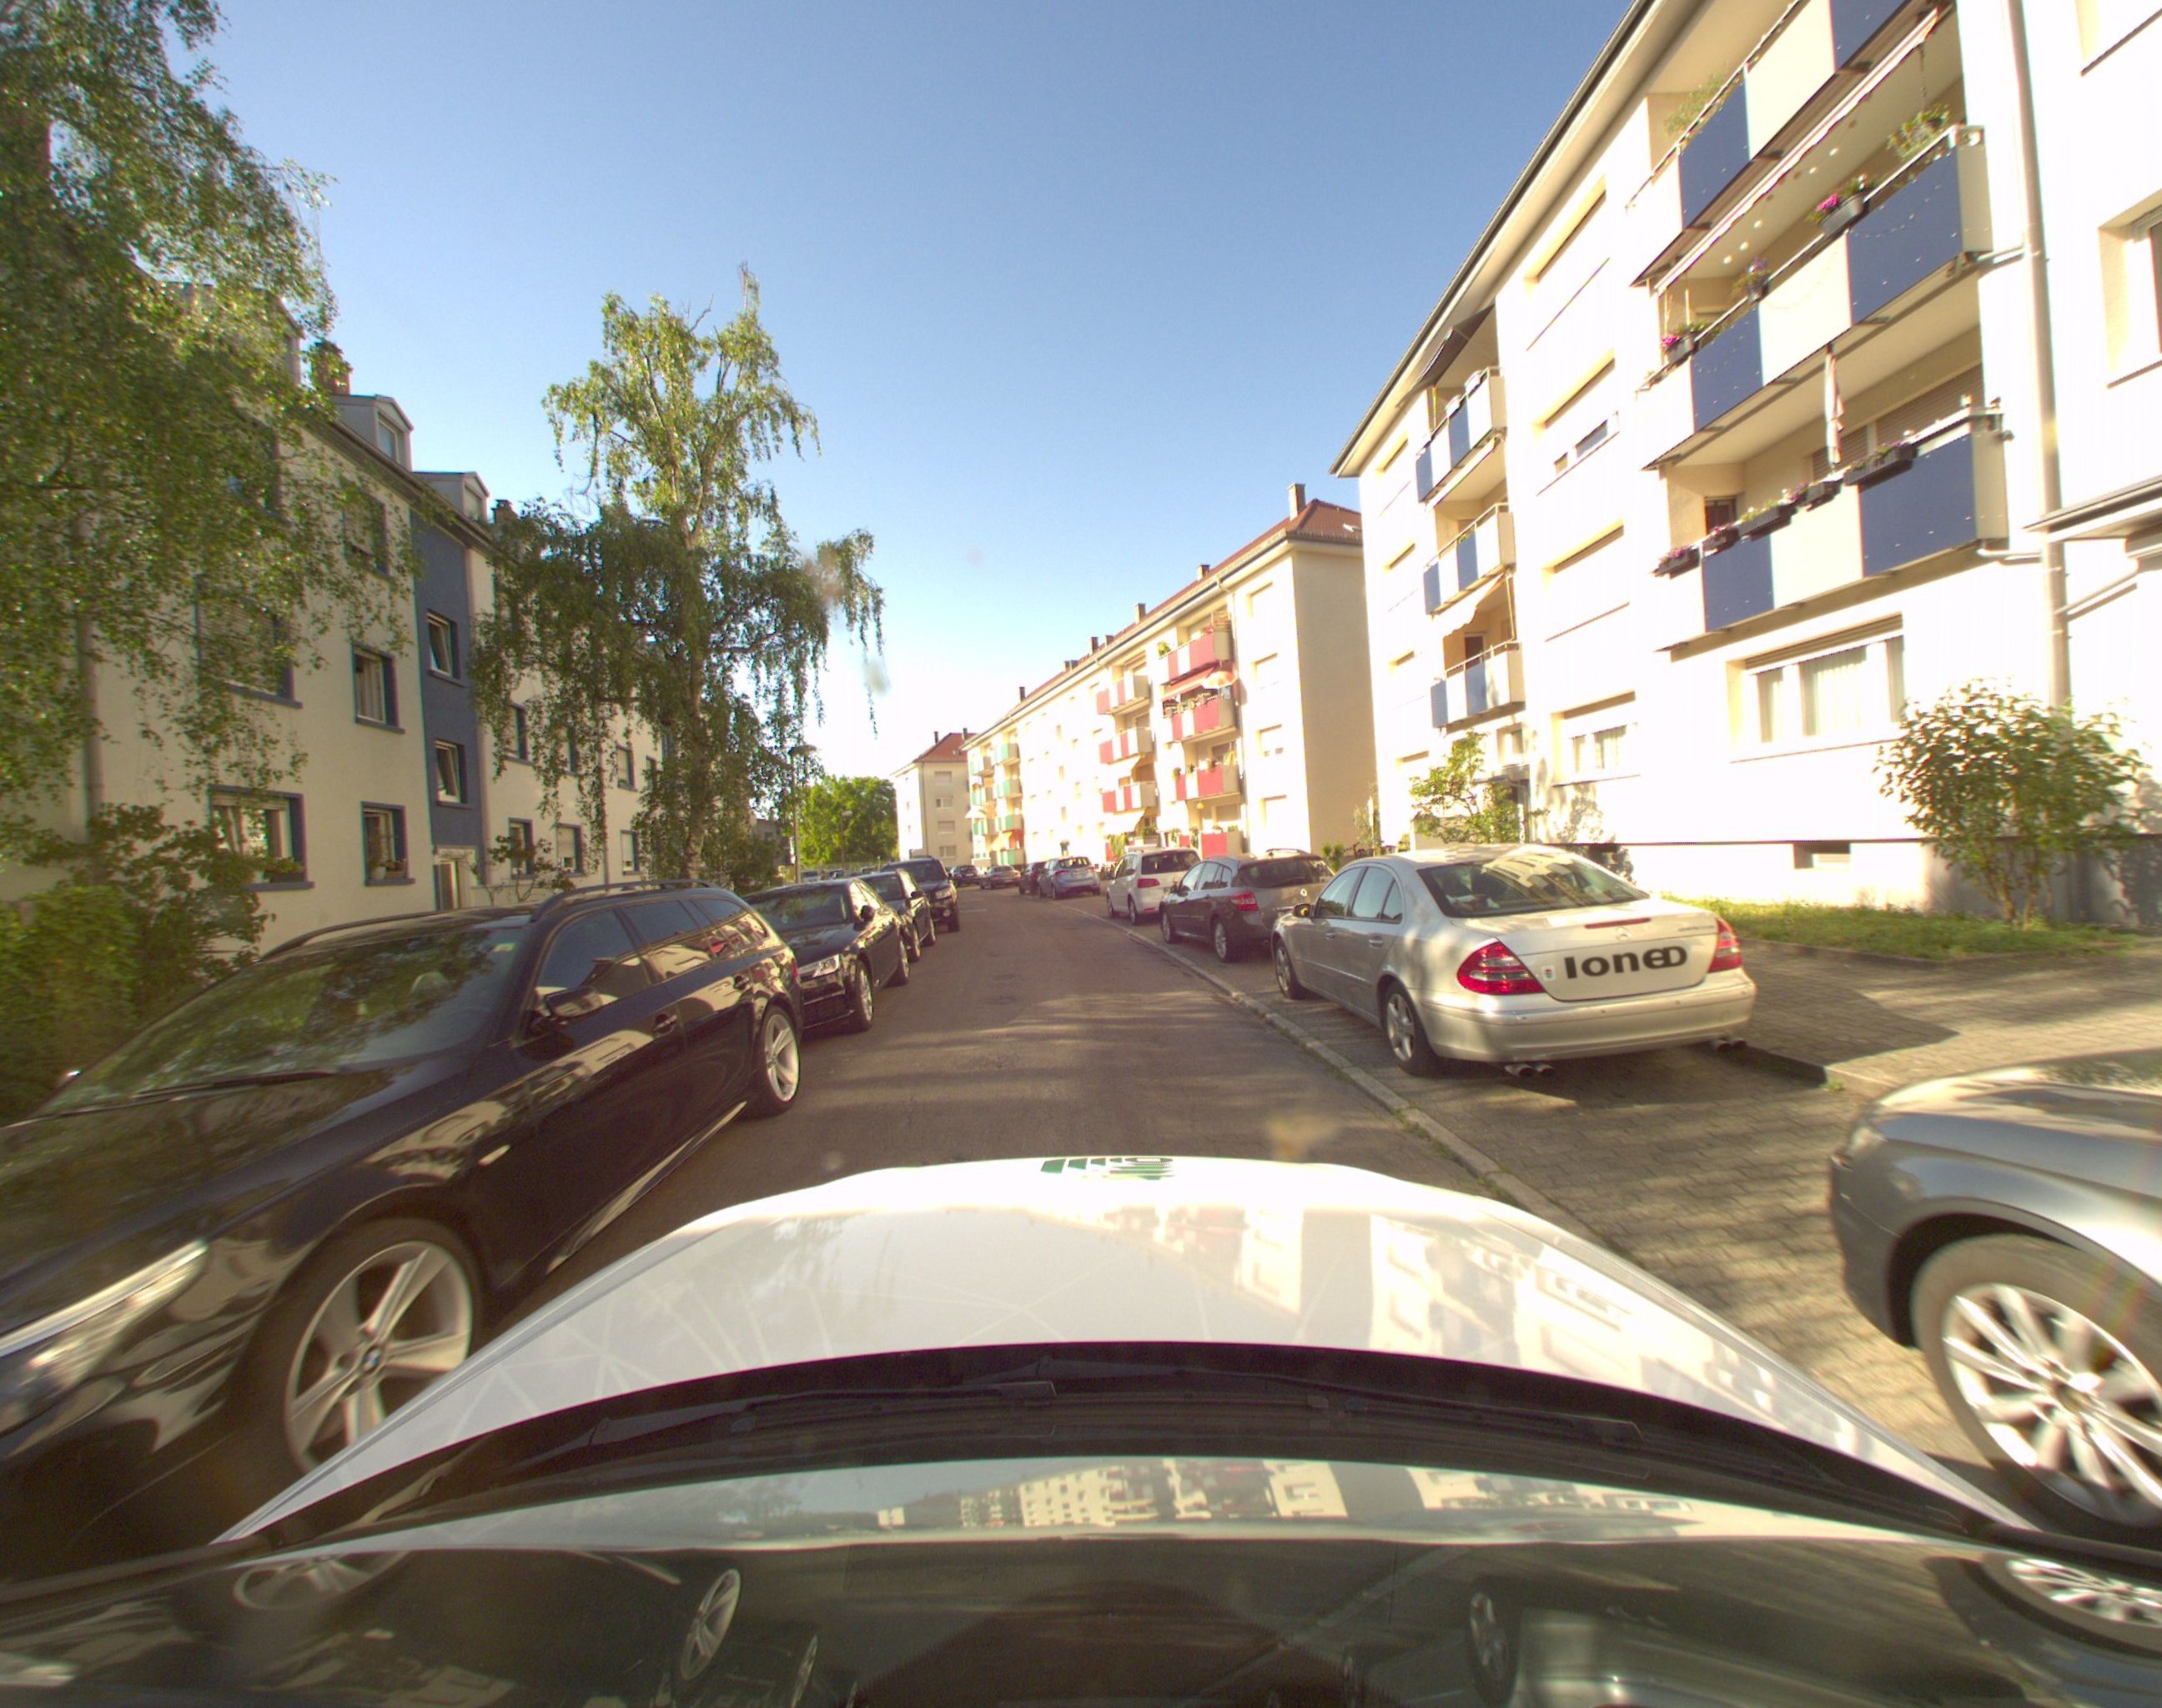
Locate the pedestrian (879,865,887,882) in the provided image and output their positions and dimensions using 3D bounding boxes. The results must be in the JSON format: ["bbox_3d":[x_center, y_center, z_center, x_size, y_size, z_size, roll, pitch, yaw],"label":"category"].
[{"bbox_3d":[-22.135,2.186,91.007,0.655,1.815,0.611,-5,0,-16],"label":"pedestrian"}]

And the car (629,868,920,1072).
[{"bbox_3d":[-2.920,0.977,8.810,1.675,1.442,4.273,-7,0,-5],"label":"car"}]

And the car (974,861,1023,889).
[{"bbox_3d":[-4.800,1.228,46.824,1.691,1.363,4.211,-6,1,-20],"label":"car"}]

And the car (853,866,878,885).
[{"bbox_3d":[-23.444,2.356,88.615,1.775,1.739,4.059,-5,0,-25],"label":"car"}]

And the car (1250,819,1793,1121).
[{"bbox_3d":[2.803,0.606,6.614,1.673,1.447,4.720,-4,0,-2],"label":"car"}]

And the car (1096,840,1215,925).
[{"bbox_3d":[1.636,0.624,19.448,1.693,1.655,4.376,-5,0,-9],"label":"car"}]

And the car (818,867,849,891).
[{"bbox_3d":[-21.628,2.204,70.938,1.906,1.855,4.159,-4,-1,-25],"label":"car"}]

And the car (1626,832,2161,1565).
[{"bbox_3d":[2.938,0.636,0.727,1.674,1.407,4.540,-1,0,-3],"label":"car"}]

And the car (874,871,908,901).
[{"bbox_3d":[-10.983,1.829,46.935,1.483,1.477,3.609,-7,1,-18],"label":"car"}]

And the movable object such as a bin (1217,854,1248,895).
[{"bbox_3d":[4.237,0.574,22.769,0.582,1.056,0.640,-7,-2,-4],"label":"movable object such as a bin"}]

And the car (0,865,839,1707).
[{"bbox_3d":[-2.631,0.890,3.531,1.673,1.452,4.618,-7,0,-1],"label":"car"}]

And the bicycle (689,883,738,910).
[{"bbox_3d":[-15.666,1.808,34.761,1.818,1.078,0.567,-1,-1,-7],"label":"bicycle"}]

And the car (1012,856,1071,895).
[{"bbox_3d":[-1.822,0.964,36.790,1.739,1.508,3.865,-6,0,-15],"label":"car"}]

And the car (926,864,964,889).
[{"bbox_3d":[-10.068,1.660,59.898,1.690,1.587,3.979,-4,0,-25],"label":"car"}]

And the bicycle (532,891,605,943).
[{"bbox_3d":[-12.786,1.553,20.328,1.411,1.152,0.413,-4,0,-14],"label":"bicycle"}]

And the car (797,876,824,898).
[{"bbox_3d":[-28.176,3.461,84.684,2.004,2.013,4.416,-5,0,-25],"label":"car"}]

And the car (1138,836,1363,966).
[{"bbox_3d":[2.322,0.636,12.583,1.694,1.431,4.672,-7,0,-9],"label":"car"}]

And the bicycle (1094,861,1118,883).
[{"bbox_3d":[1.248,0.906,40.864,0.499,1.019,1.830,-5,0,-18],"label":"bicycle"}]

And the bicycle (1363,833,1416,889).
[{"bbox_3d":[7.191,0.152,19.068,0.512,1.202,1.834,-5,0,2],"label":"bicycle"}]

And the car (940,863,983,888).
[{"bbox_3d":[-8.204,1.486,55.569,1.746,1.431,4.322,-6,0,-23],"label":"car"}]

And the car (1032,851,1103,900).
[{"bbox_3d":[-0.601,0.805,31.866,1.769,1.635,4.020,-6,1,-15],"label":"car"}]

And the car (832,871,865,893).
[{"bbox_3d":[-17.605,2.132,61.607,1.667,1.443,3.838,-5,0,-25],"label":"car"}]

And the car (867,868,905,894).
[{"bbox_3d":[-12.512,1.737,52.062,1.750,1.431,4.566,-6,0,-20],"label":"car"}]

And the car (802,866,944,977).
[{"bbox_3d":[-3.404,1.023,14.032,1.553,1.442,3.961,-7,0,-5],"label":"car"}]

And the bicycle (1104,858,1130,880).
[{"bbox_3d":[1.806,0.735,41.021,0.619,0.978,1.884,-7,2,-18],"label":"bicycle"}]

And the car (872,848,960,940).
[{"bbox_3d":[-3.709,0.862,18.902,1.555,1.714,4.325,-6,0,-8],"label":"car"}]

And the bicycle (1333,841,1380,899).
[{"bbox_3d":[6.258,0.341,18.570,0.512,1.202,1.764,-5,0,6],"label":"bicycle"}]
